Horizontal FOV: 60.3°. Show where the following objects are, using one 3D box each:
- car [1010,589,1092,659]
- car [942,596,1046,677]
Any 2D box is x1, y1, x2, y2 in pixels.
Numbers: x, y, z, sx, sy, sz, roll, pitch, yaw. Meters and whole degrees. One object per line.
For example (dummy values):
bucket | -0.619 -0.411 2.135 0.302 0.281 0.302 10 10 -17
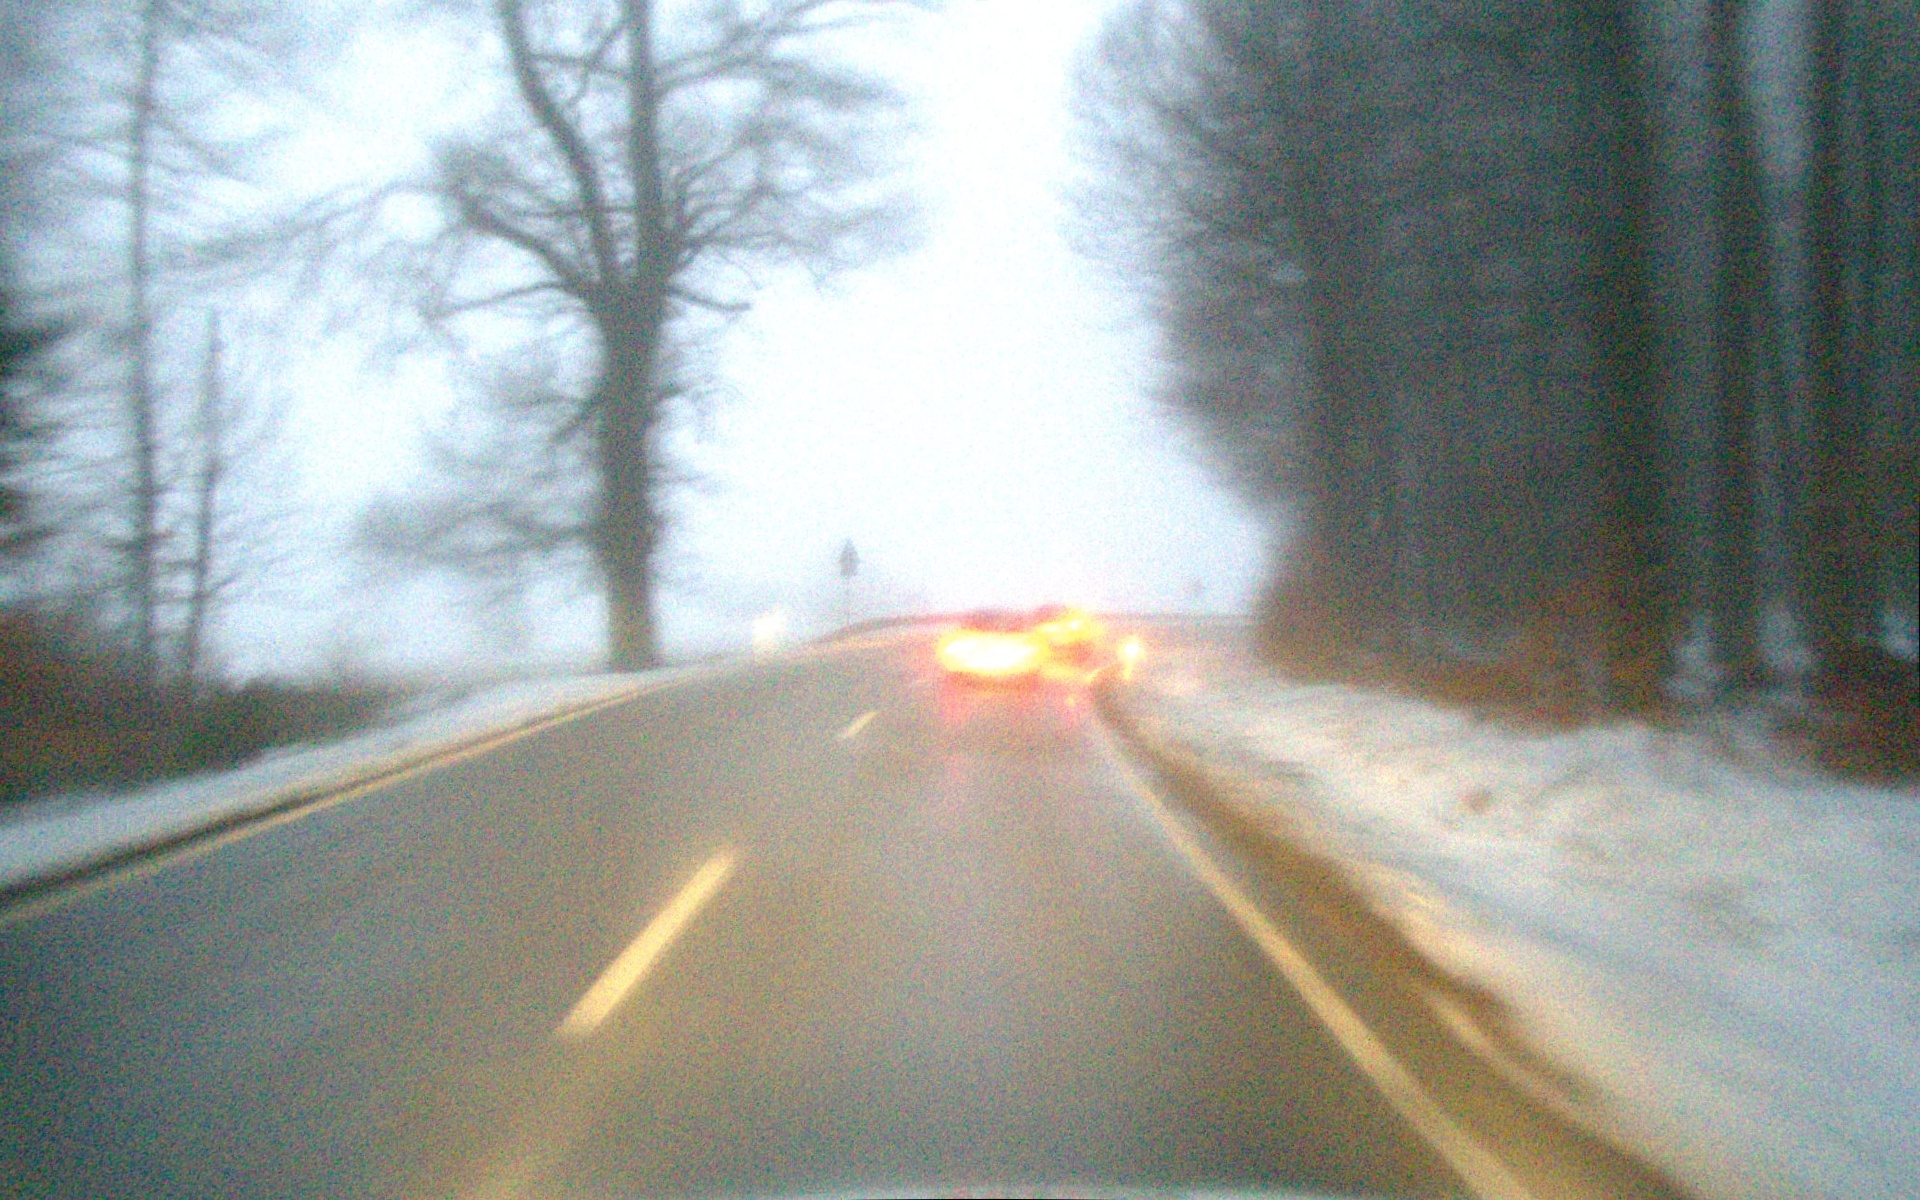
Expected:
car | 2.521 0.637 46.712 1.953 1.814 3.999 2 1 -2
car | 0.634 0.659 32.248 1.906 1.405 4.001 0 1 0
